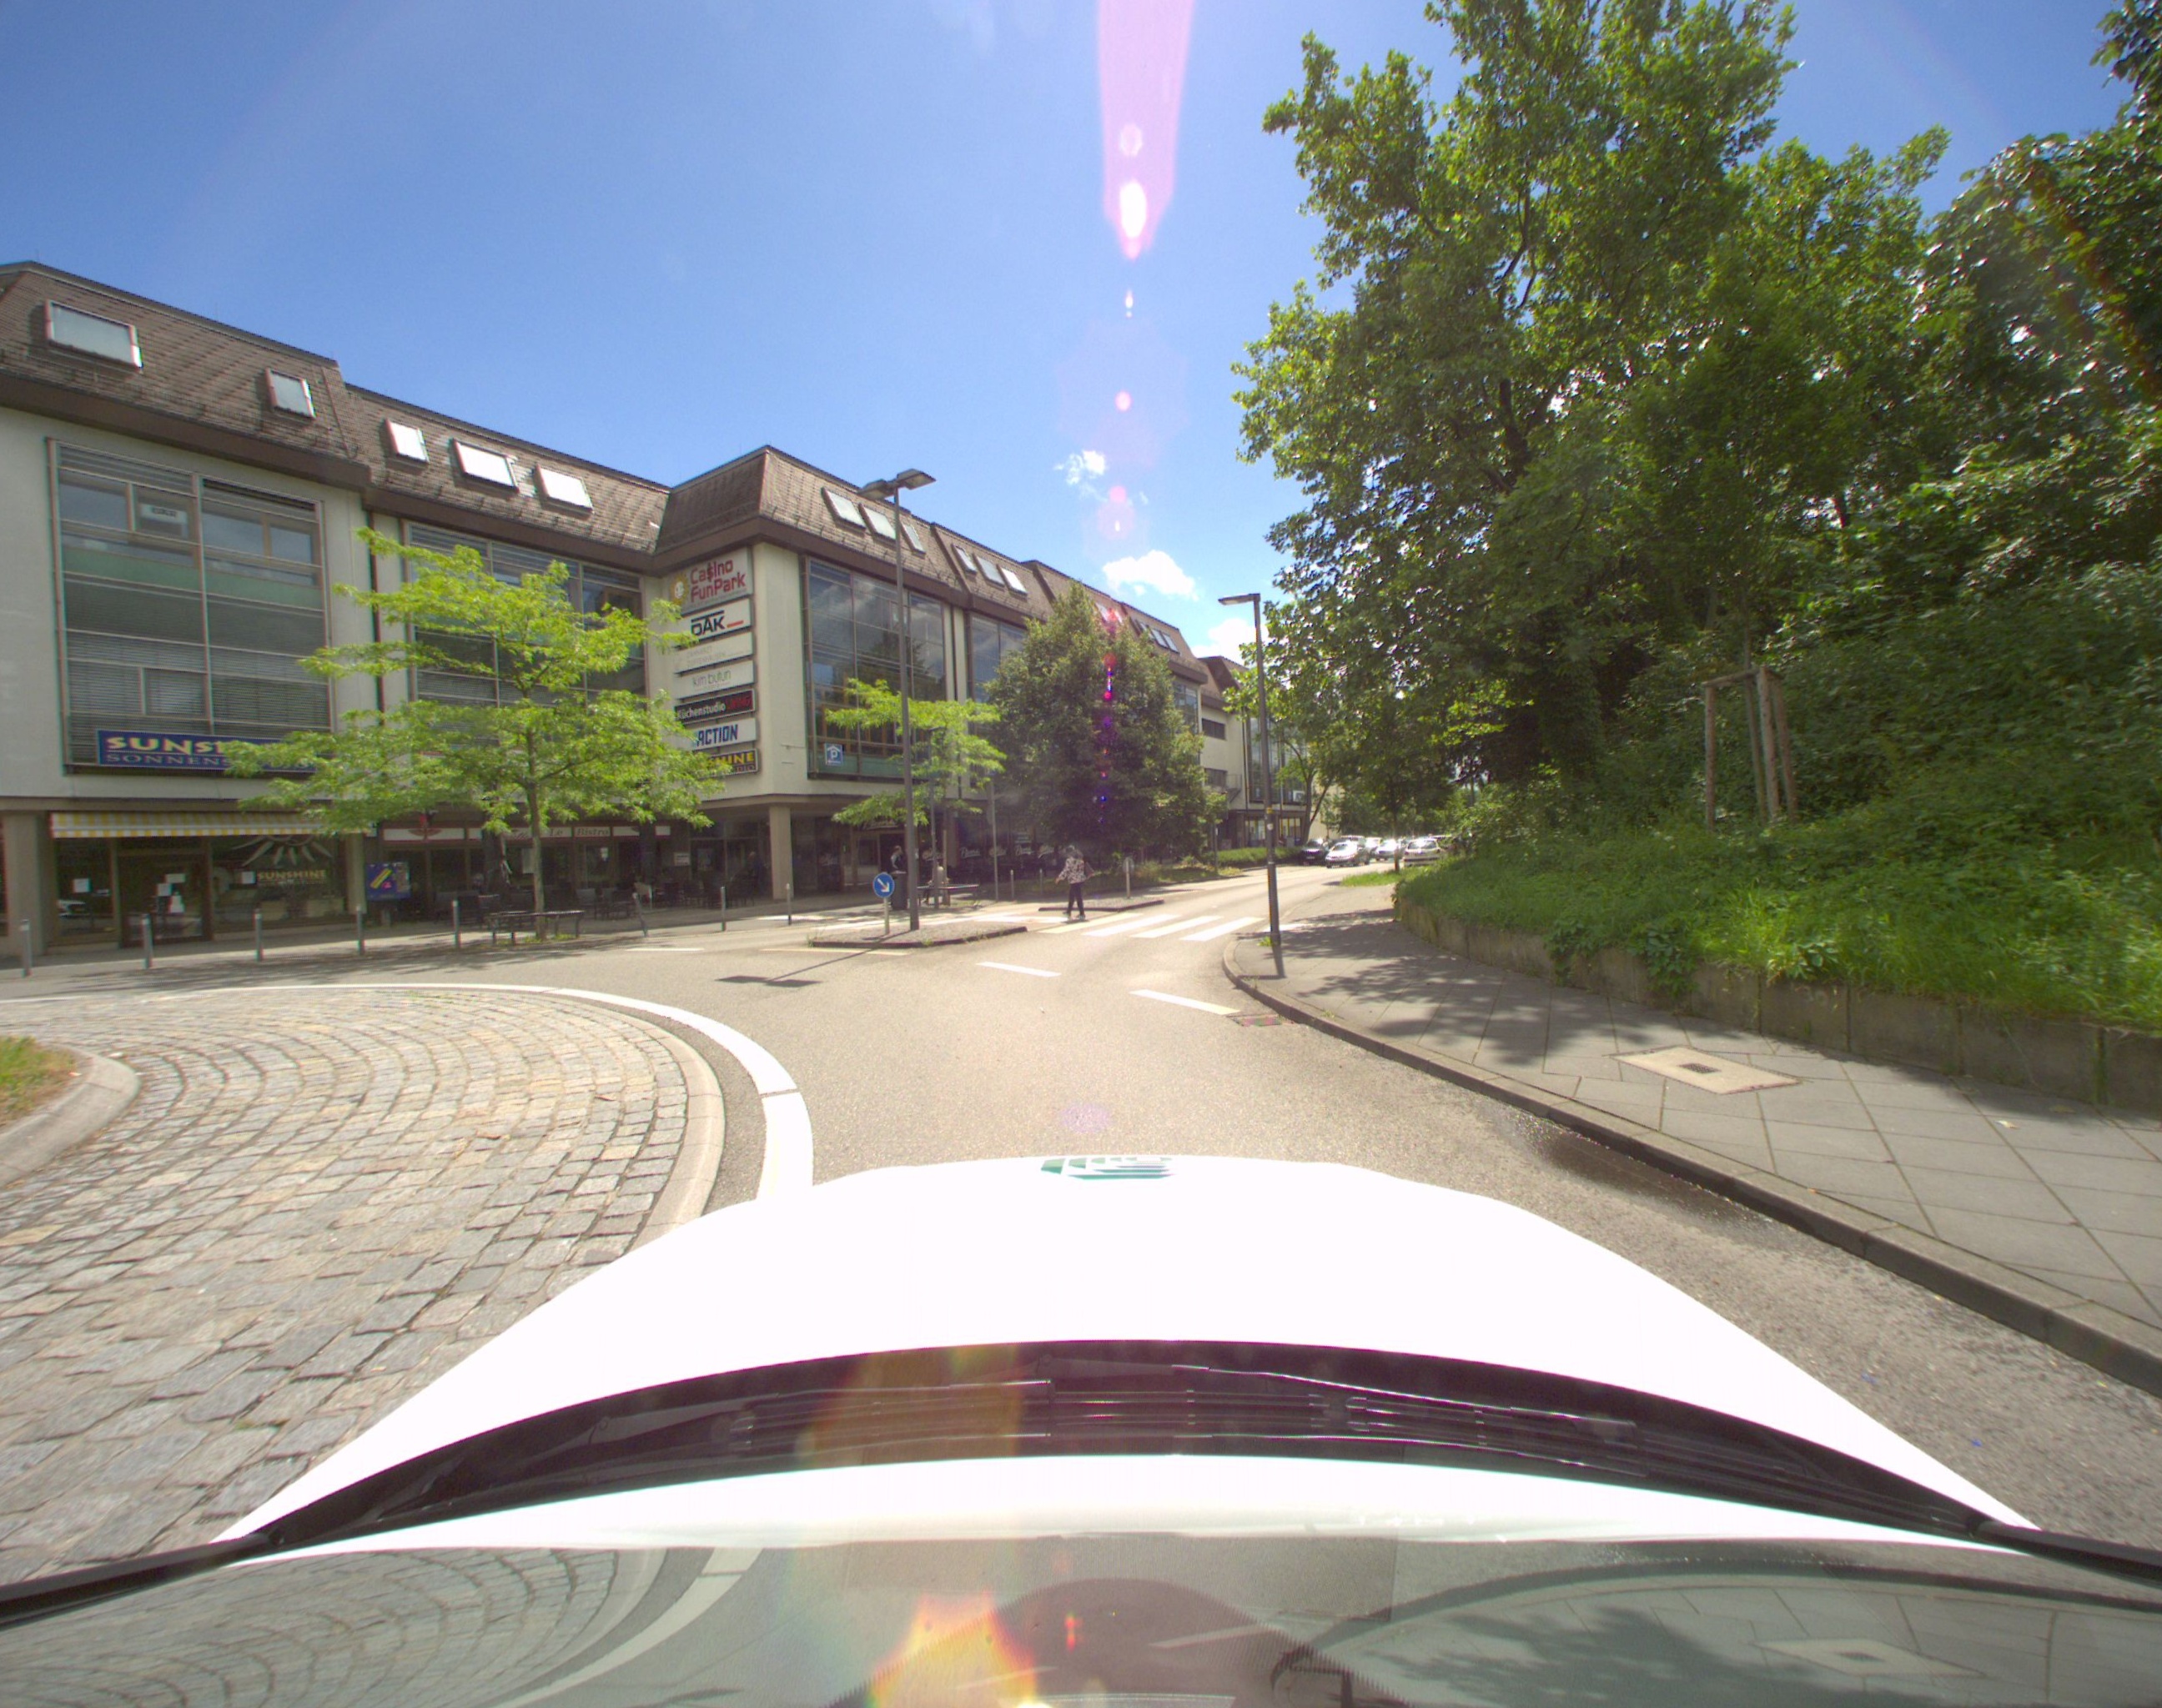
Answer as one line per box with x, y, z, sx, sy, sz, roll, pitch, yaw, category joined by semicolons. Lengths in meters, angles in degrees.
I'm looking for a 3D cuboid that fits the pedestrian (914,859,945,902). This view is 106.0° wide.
-4.670;0.796;25.133;0.689;1.285;0.621;-1;0;42;pedestrian

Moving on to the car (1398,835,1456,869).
15.846;-0.104;37.233;1.734;1.330;4.026;-5;-1;32;car

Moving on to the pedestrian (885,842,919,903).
-5.634;0.574;25.652;0.689;1.818;0.621;-1;5;35;pedestrian

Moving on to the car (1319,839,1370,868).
15.371;-0.063;47.357;1.975;1.508;4.613;-2;0;28;car

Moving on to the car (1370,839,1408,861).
22.440;-0.312;59.217;1.975;1.508;4.613;-2;0;28;car

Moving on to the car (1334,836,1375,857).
20.945;-0.576;62.225;1.974;1.508;4.614;-1;1;32;car

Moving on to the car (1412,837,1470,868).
18.799;-0.097;42.457;1.909;1.486;4.026;-1;1;37;car

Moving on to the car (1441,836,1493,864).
22.077;-0.232;46.521;1.909;1.486;4.026;-1;1;37;car

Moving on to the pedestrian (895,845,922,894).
-6.057;0.540;28.602;0.610;1.674;0.701;-1;0;17;pedestrian

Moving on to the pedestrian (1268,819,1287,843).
16.959;-2.002;70.348;1.332;2.014;1.095;-2;-1;28;pedestrian

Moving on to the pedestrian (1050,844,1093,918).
-0.209;0.571;17.698;0.764;1.553;0.776;-1;0;-13;pedestrian

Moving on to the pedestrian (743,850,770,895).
-12.424;0.695;31.155;0.609;1.674;0.702;-1;0;29;pedestrian

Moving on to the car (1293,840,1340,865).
15.217;-0.112;52.391;1.975;1.508;4.613;-1;1;28;car

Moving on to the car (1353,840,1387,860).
23.772;-0.345;66.939;1.975;1.508;4.613;-1;1;28;car

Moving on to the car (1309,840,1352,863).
17.418;-0.191;56.665;1.975;1.508;4.613;-1;1;28;car

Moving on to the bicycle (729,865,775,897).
-12.469;1.017;30.895;1.542;1.168;0.493;-1;-1;-17;bicycle
